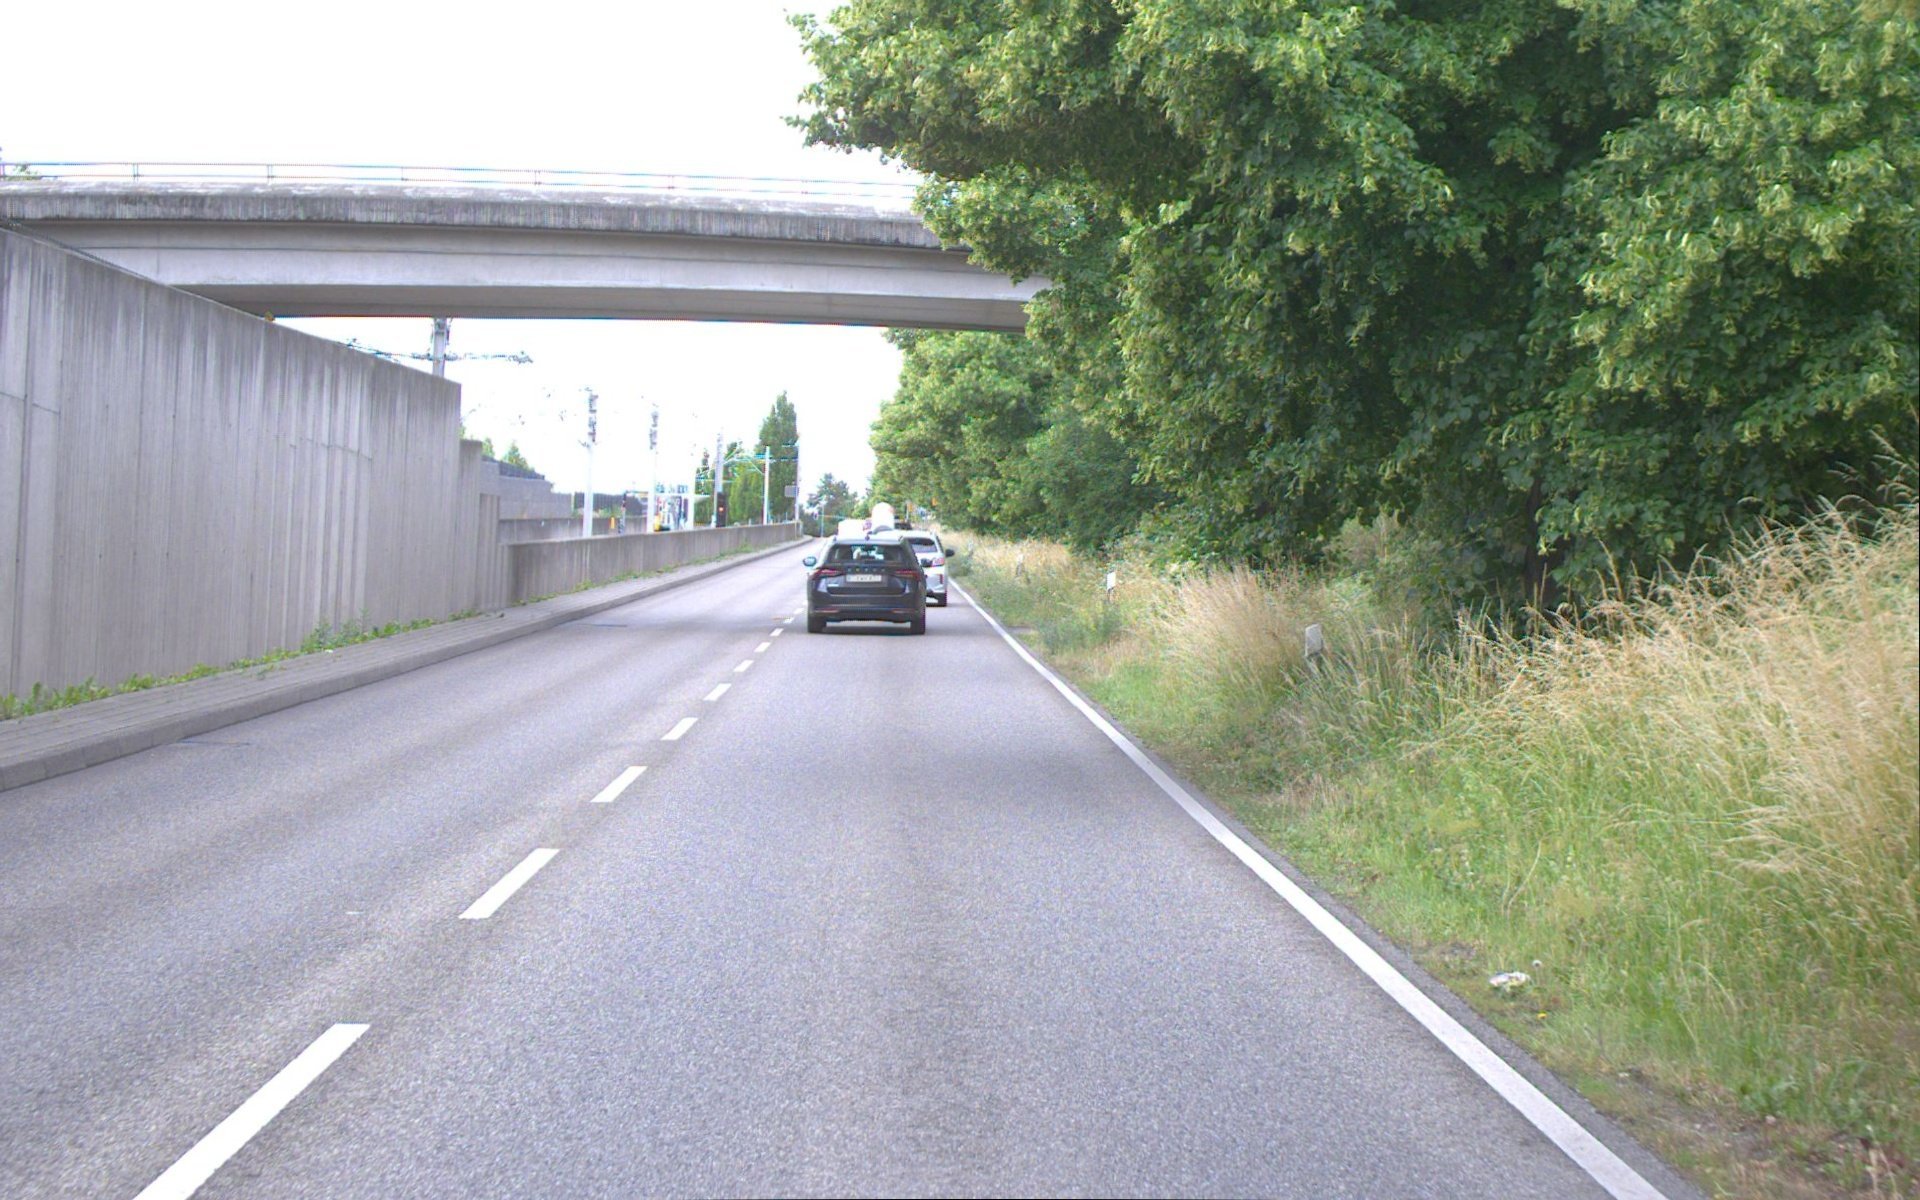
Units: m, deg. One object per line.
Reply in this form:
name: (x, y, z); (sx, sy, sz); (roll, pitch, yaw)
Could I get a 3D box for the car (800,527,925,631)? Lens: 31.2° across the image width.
car: (-1.444, -0.335, 51.697); (1.781, 1.463, 4.000); (1, 1, -1)

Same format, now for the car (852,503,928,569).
car: (-1.900, -1.722, 93.623); (1.993, 1.734, 4.000); (1, 0, -1)

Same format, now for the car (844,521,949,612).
car: (-1.271, -0.686, 68.757); (1.993, 1.747, 4.000); (1, 1, -1)
